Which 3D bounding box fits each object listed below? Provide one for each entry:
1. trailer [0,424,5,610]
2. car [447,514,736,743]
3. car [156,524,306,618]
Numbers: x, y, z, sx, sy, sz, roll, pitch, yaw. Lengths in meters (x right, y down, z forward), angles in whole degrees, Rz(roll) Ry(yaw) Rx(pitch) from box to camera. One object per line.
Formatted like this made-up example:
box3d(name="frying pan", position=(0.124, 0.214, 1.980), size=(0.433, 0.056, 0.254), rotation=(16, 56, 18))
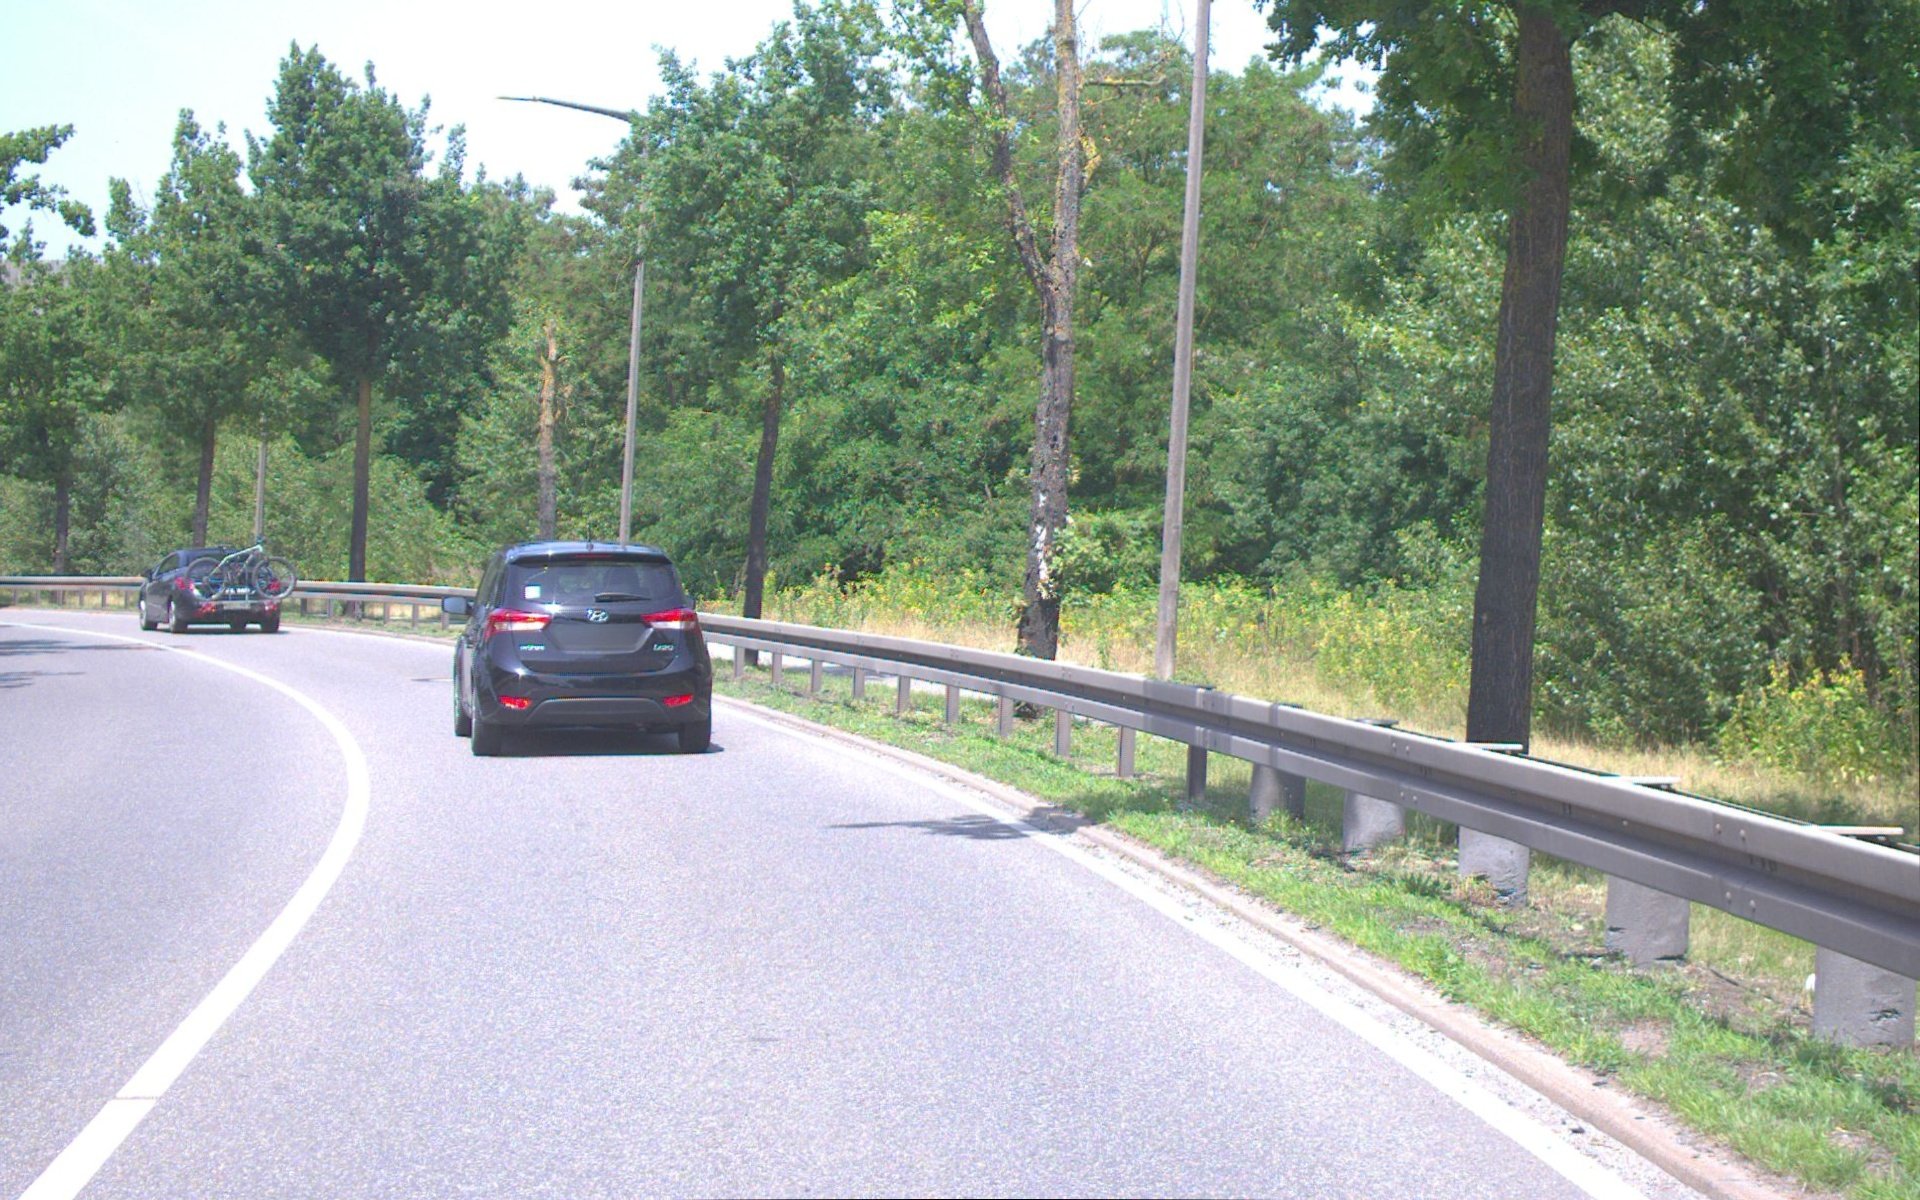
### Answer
box3d(name="trailer", position=(-26.702, -2.178, 84.722), size=(3.569, 4.369, 11.443), rotation=(0, 3, -29))
box3d(name="car", position=(-2.936, 0.164, 26.712), size=(1.921, 1.568, 3.893), rotation=(1, 2, -11))
box3d(name="car", position=(-12.131, -0.500, 57.082), size=(2.011, 1.424, 3.778), rotation=(0, 2, -18))
